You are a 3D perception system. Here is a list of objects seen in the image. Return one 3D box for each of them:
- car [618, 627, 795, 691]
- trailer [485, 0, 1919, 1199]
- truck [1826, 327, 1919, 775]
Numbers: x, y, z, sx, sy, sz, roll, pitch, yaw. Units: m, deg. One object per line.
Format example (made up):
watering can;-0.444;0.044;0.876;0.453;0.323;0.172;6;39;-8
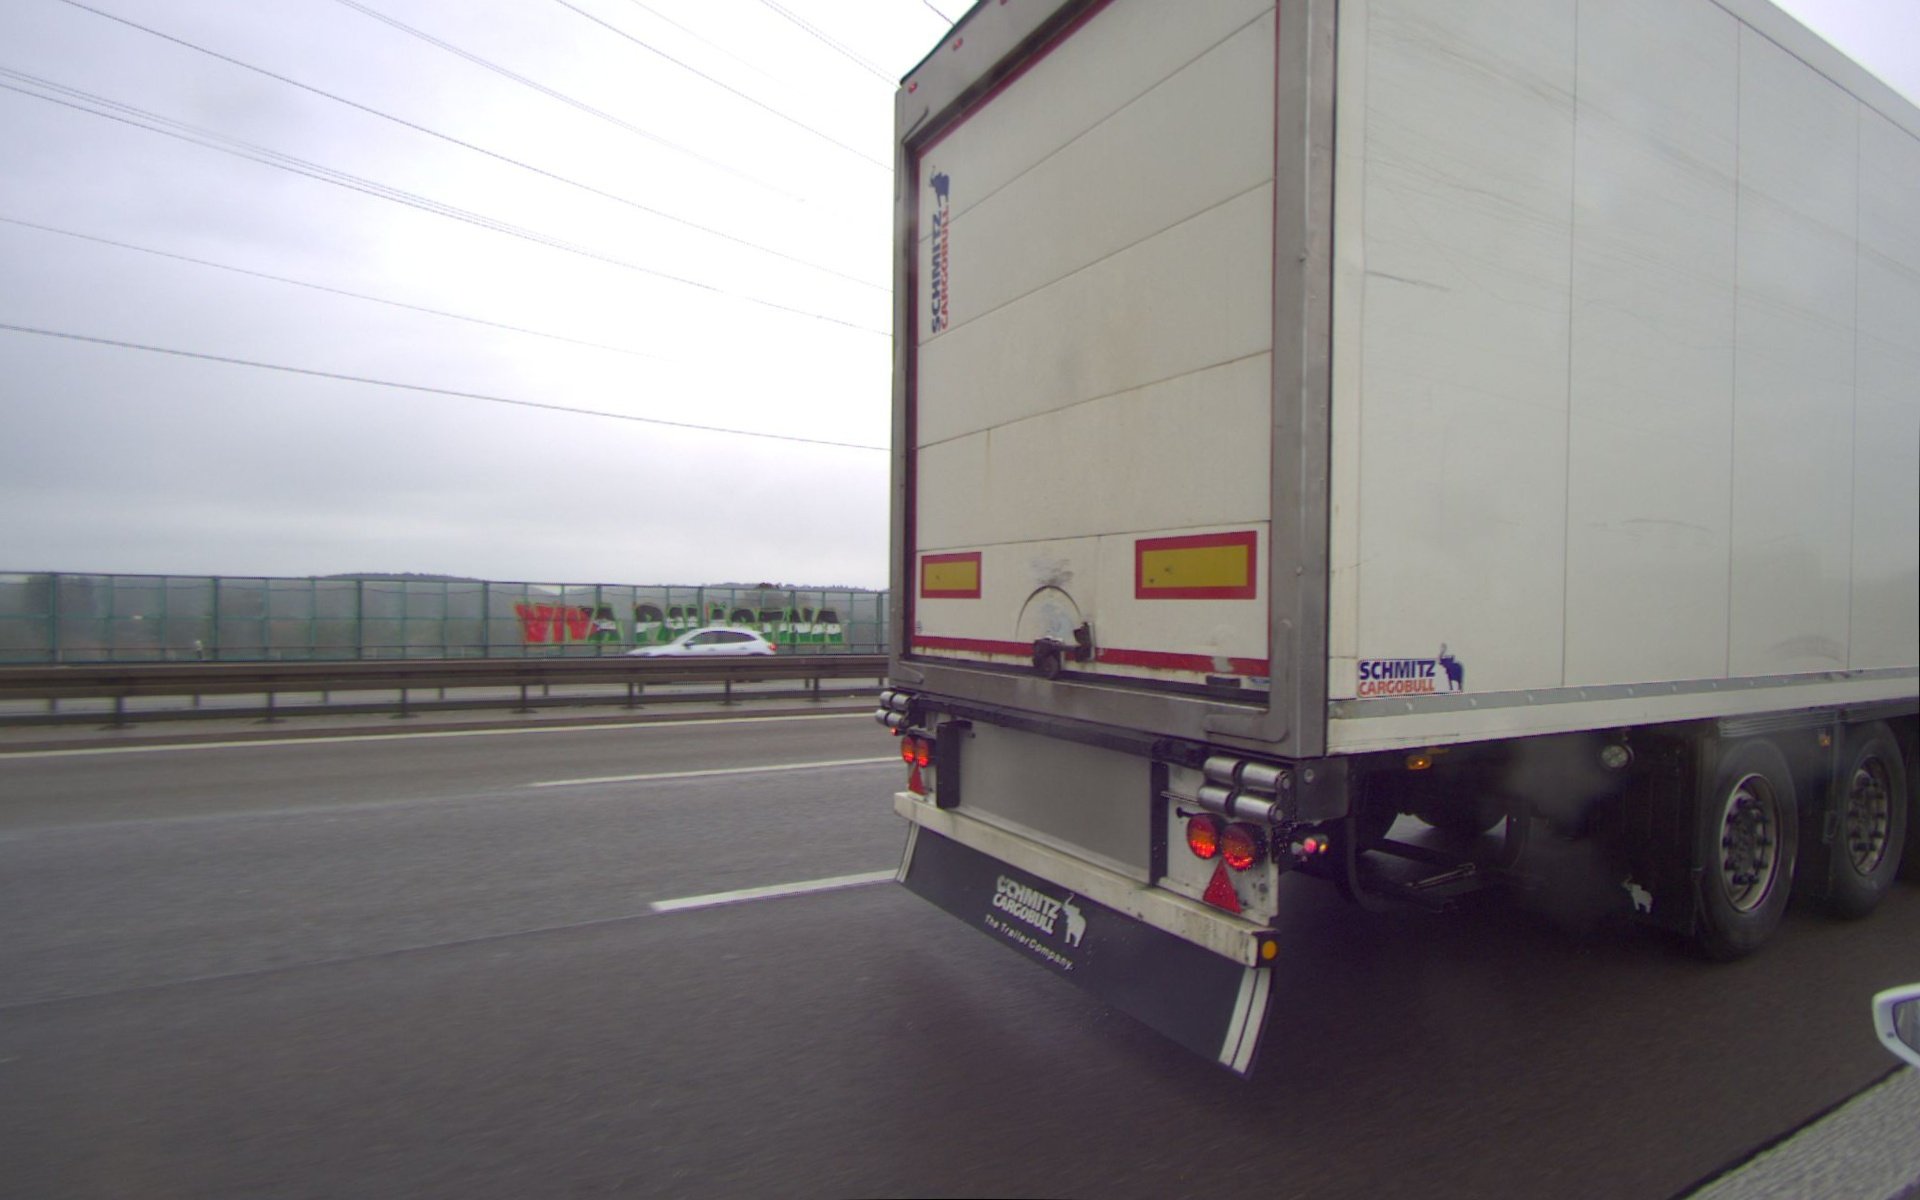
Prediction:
car;-7.412;1.726;29.551;4.649;1.687;1.983;2;0;-32
trailer;5.099;-0.554;6.556;14.653;4.212;2.331;1;-1;-31
truck;11.942;-0.401;10.621;6.272;4.212;2.331;1;-1;-30
